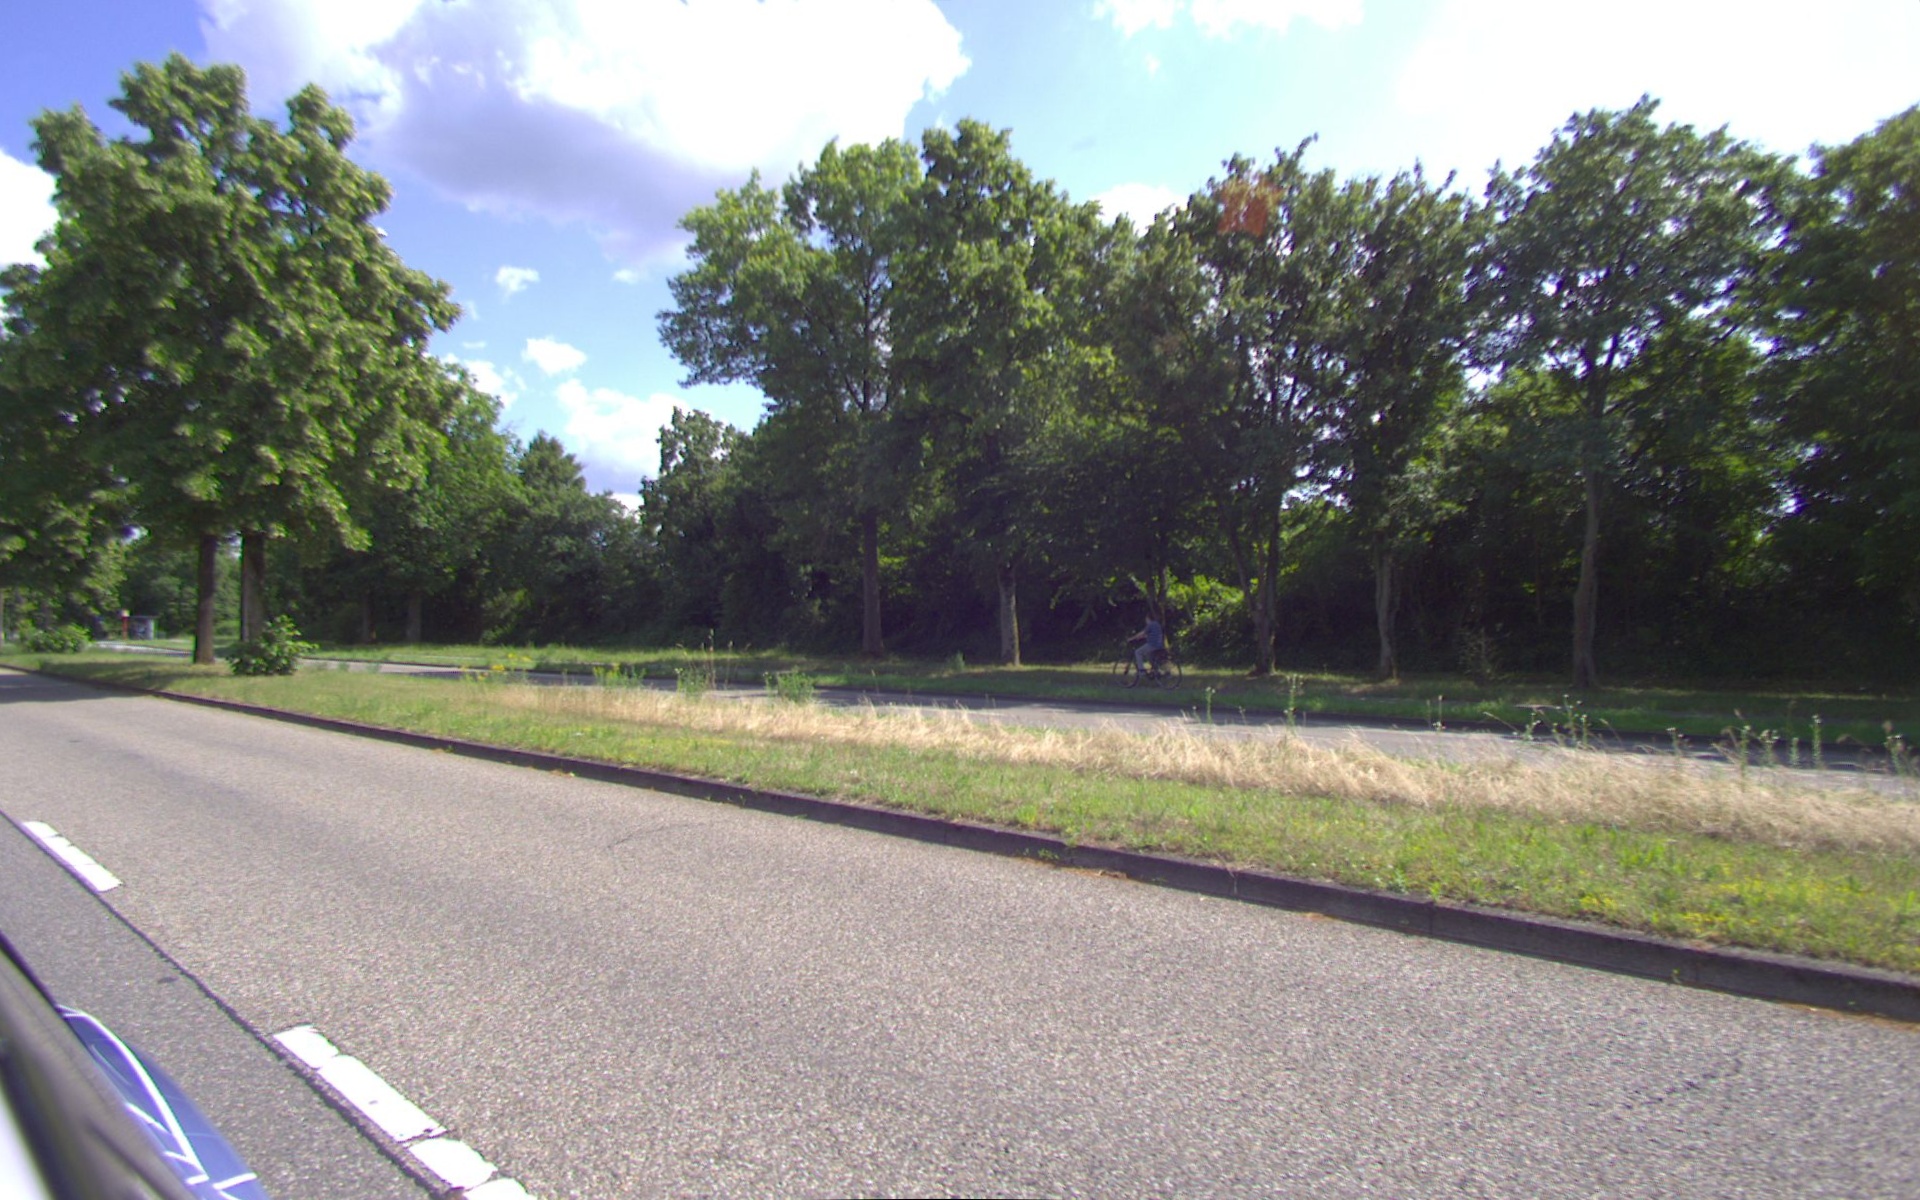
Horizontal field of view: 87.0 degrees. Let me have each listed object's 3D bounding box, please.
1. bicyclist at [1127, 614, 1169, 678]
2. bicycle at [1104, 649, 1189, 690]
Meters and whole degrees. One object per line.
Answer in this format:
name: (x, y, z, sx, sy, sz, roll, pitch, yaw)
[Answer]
bicyclist: (4.351, 1.052, 23.441, 0.729, 1.459, 0.611, -2, -2, 43)
bicycle: (4.313, 1.594, 23.463, 1.915, 0.885, 0.611, -2, -2, 44)
